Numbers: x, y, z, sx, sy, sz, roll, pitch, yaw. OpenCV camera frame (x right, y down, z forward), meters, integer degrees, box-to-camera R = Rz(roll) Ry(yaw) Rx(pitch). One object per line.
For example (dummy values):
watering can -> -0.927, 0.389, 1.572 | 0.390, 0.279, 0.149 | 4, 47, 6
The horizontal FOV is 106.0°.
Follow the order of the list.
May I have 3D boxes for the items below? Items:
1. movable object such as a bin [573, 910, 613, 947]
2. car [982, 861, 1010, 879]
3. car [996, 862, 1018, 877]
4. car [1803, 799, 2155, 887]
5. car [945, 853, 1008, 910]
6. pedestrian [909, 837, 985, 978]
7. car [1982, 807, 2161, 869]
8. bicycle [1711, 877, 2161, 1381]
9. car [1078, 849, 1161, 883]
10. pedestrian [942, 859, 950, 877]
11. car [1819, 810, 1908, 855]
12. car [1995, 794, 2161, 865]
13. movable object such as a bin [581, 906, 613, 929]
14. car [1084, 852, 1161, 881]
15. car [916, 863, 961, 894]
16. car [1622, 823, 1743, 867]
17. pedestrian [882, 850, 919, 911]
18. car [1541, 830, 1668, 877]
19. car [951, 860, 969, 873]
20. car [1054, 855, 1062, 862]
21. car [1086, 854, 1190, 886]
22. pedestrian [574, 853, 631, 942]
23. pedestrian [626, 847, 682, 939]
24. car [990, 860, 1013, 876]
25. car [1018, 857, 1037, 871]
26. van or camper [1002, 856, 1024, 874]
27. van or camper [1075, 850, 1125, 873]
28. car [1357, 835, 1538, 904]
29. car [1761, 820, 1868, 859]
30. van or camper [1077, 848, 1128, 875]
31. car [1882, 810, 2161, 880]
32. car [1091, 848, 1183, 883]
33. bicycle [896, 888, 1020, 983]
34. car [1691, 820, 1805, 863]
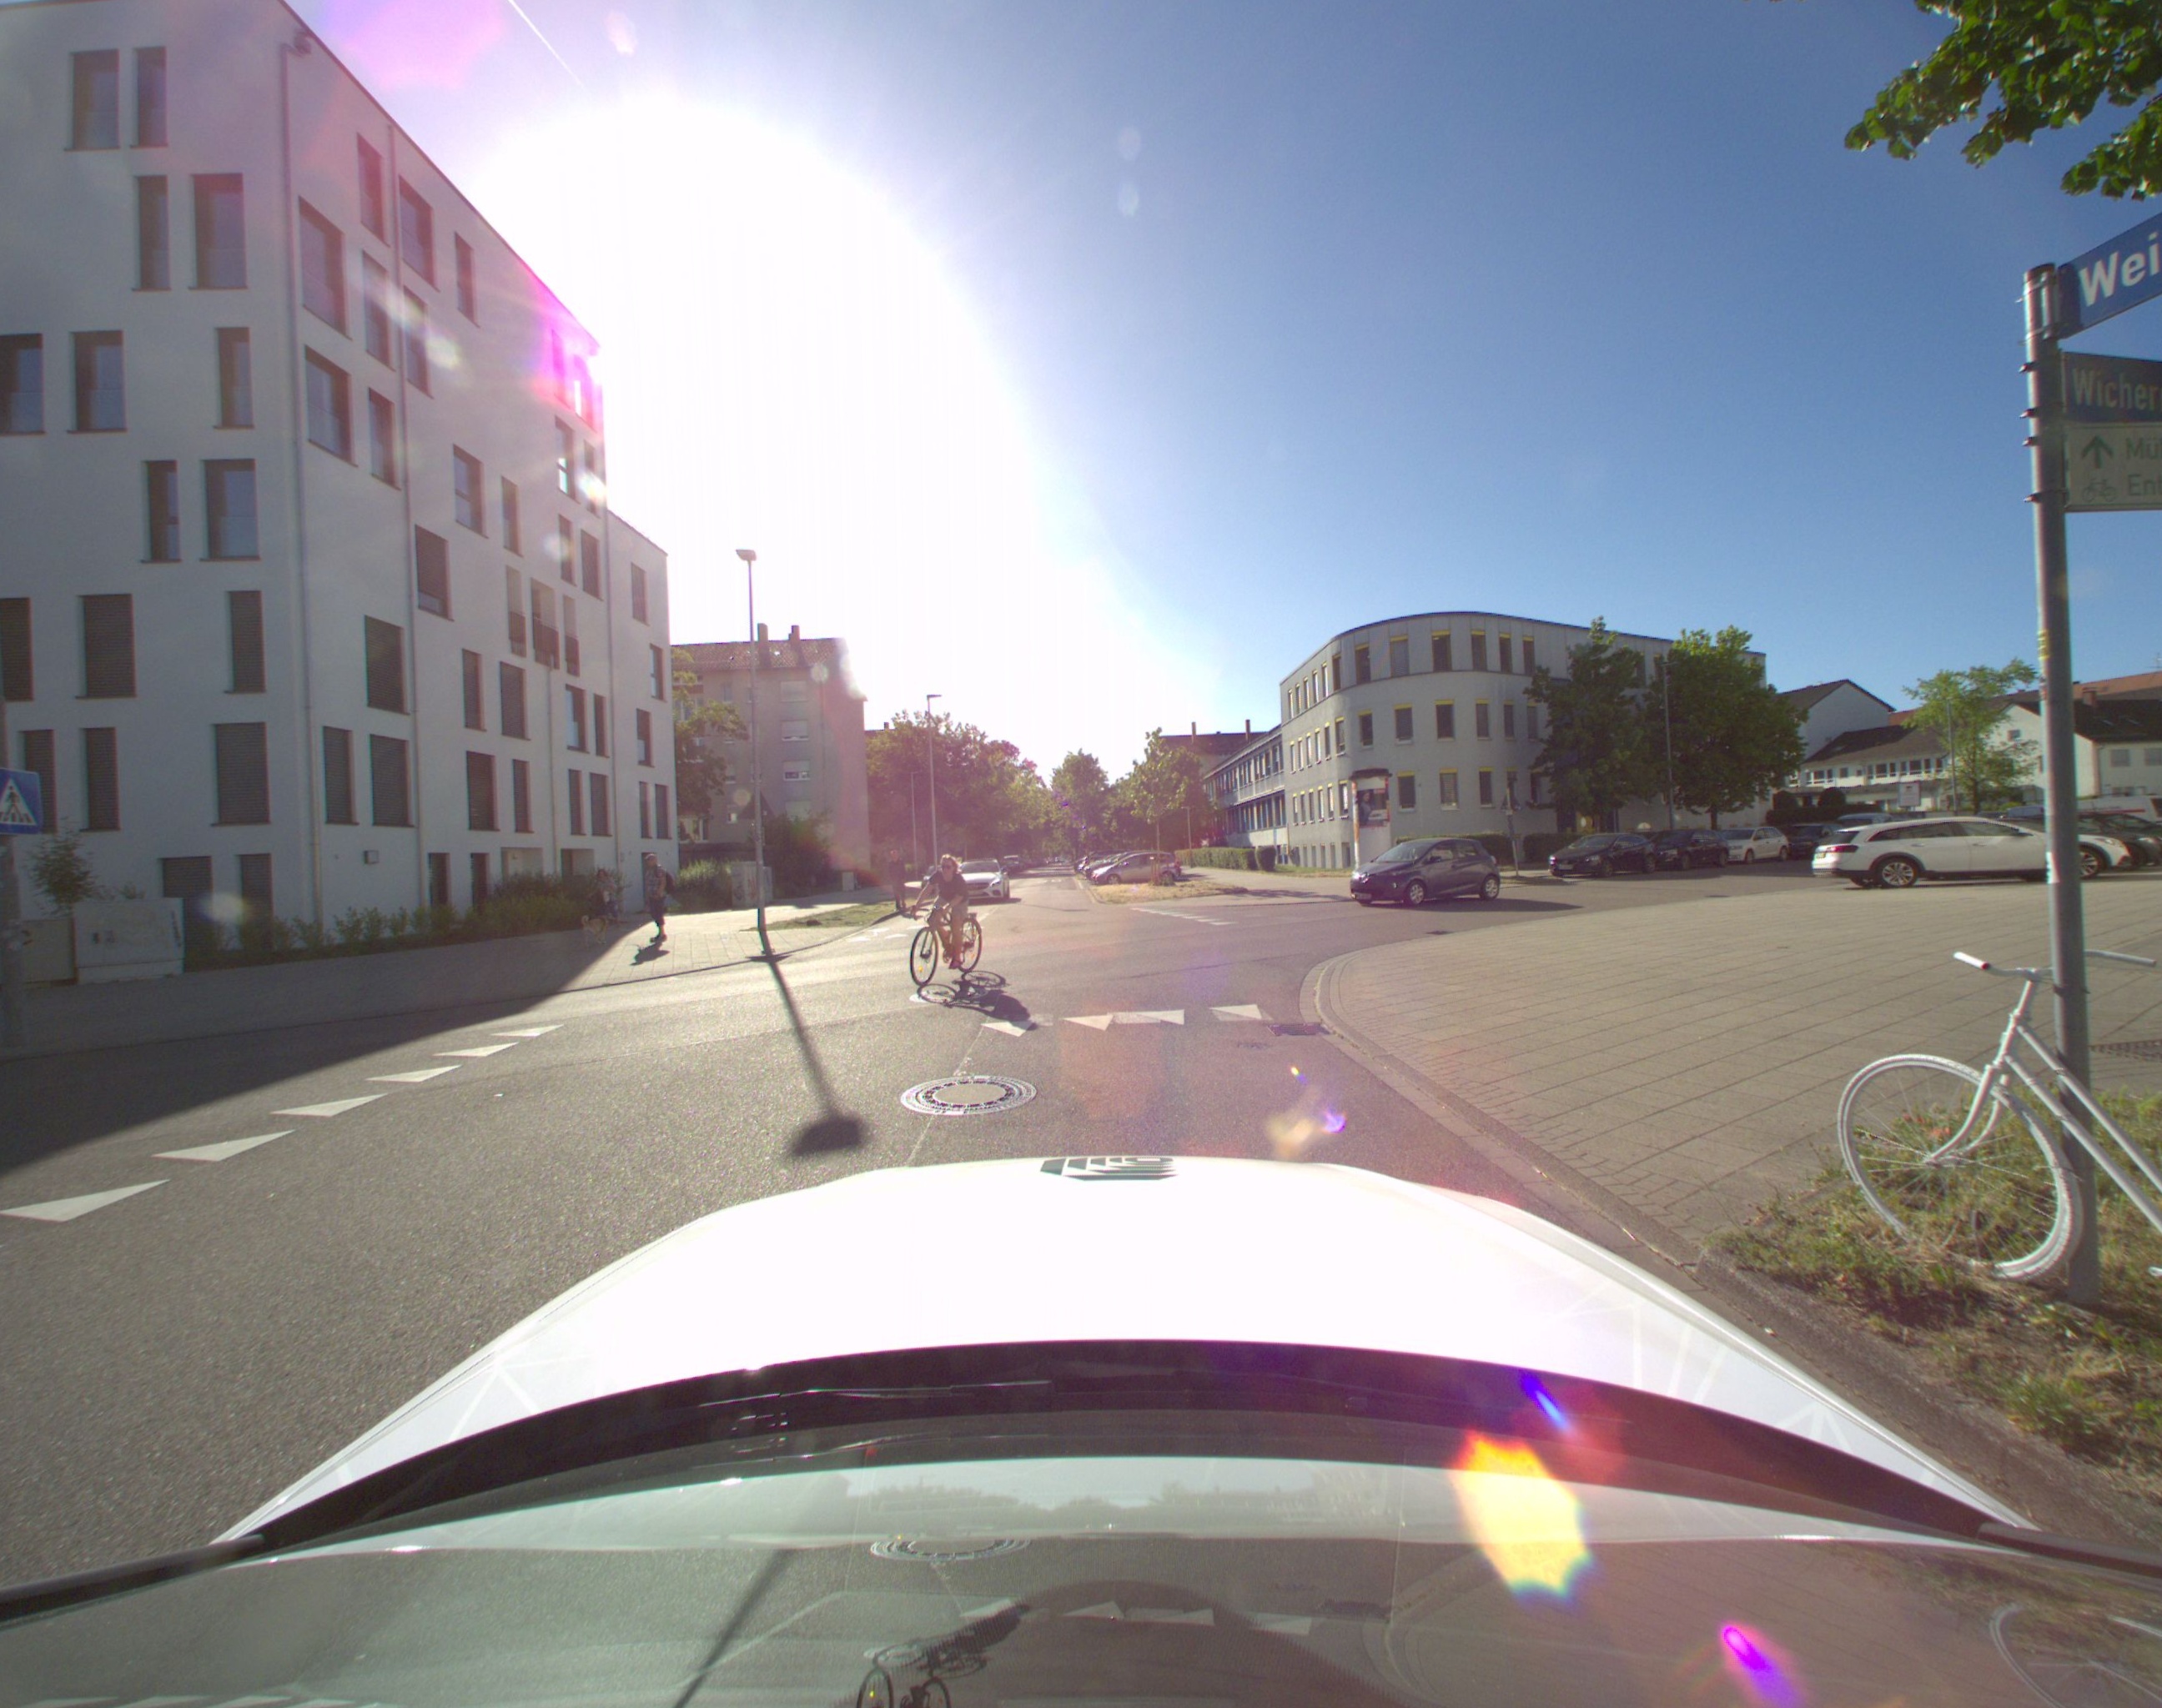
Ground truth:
movable object such as a bin -> -9.933, 1.509, 16.597 | 0.270, 0.680, 0.849 | -3, 0, 0
car -> -7.025, 1.341, 67.593 | 1.837, 1.398, 3.999 | -2, -1, 0
car -> -7.597, 1.576, 84.078 | 1.837, 1.398, 3.999 | -2, -1, 0
car -> 19.599, -0.187, 18.176 | 4.811, 1.464, 1.985 | -5, -1, 28
car -> -3.530, 0.861, 27.733 | 1.884, 1.504, 4.628 | -3, 2, -7
pedestrian -> -1.625, 0.630, 10.019 | 0.687, 1.640, 1.047 | 0, -1, 4
car -> 29.043, -0.458, 23.326 | 3.945, 1.490, 1.627 | -5, -4, 32
bicycle -> 2.862, 0.683, 2.245 | 0.527, 1.194, 2.027 | -2, -1, -4
car -> 2.007, 0.628, 43.342 | 4.270, 1.765, 1.997 | 0, -1, -4
pedestrian -> -12.589, 1.281, 76.141 | 0.633, 1.664, 0.698 | -2, 0, -7
car -> 35.527, -0.978, 36.957 | 4.354, 1.838, 1.677 | -3, 0, -29
car -> 31.978, -0.766, 25.131 | 4.475, 1.898, 2.061 | -4, -4, 22
movable object such as a bin -> -12.478, 1.635, 21.001 | 0.269, 0.541, 0.689 | -2, -1, 19
car -> 2.323, 0.695, 46.170 | 4.194, 1.596, 1.998 | 0, -1, -3
car -> -6.843, 1.168, 39.490 | 1.663, 1.420, 3.995 | 0, -1, -3
car -> 22.202, -0.325, 30.023 | 4.392, 1.479, 1.897 | -2, 0, -29
pedestrian -> -5.311, 0.756, 24.008 | 0.869, 1.714, 0.978 | -2, 0, -5
car -> 17.813, -0.029, 27.680 | 4.235, 1.410, 1.778 | -2, 0, -29
car -> -12.060, 1.263, 81.189 | 1.269, 1.225, 2.663 | -3, 0, 1
car -> -6.210, 1.282, 222.628 | 1.988, 1.747, 3.998 | -2, 0, -1
car -> 2.771, 0.776, 40.165 | 4.863, 1.274, 1.725 | -3, -1, -6
pedestrian -> -11.886, 1.054, 20.242 | 0.766, 2.120, 0.964 | -1, 1, 42
pedestrian -> -9.020, 0.801, 17.222 | 0.844, 1.885, 0.788 | 0, -1, -11
car -> -7.441, 1.302, 76.230 | 1.989, 1.408, 3.903 | 0, -1, -3
car -> -7.697, 1.485, 117.633 | 1.983, 2.014, 4.007 | -1, -1, 7
van or camper -> -7.534, 1.220, 90.213 | 1.986, 2.014, 4.001 | 0, -1, 2
van or camper -> 1.529, 0.627, 66.538 | 3.976, 1.772, 1.999 | 0, -1, -2
car -> 8.963, 0.345, 19.885 | 4.147, 1.504, 1.827 | -1, -1, -27
car -> 31.045, -0.626, 34.451 | 4.620, 1.439, 1.724 | -2, 0, -26
van or camper -> 1.657, 0.589, 63.909 | 3.976, 2.014, 1.999 | 0, -1, -2
car -> 22.777, -0.162, 19.937 | 4.118, 1.497, 1.834 | -2, -2, 29
car -> 2.580, 0.545, 38.124 | 4.081, 1.492, 1.726 | -2, -1, -5
bicycle -> -1.484, 0.969, 10.201 | 0.544, 1.012, 1.930 | -2, -1, 24
car -> 26.520, -0.506, 32.363 | 4.637, 1.530, 1.897 | -2, 0, -29
